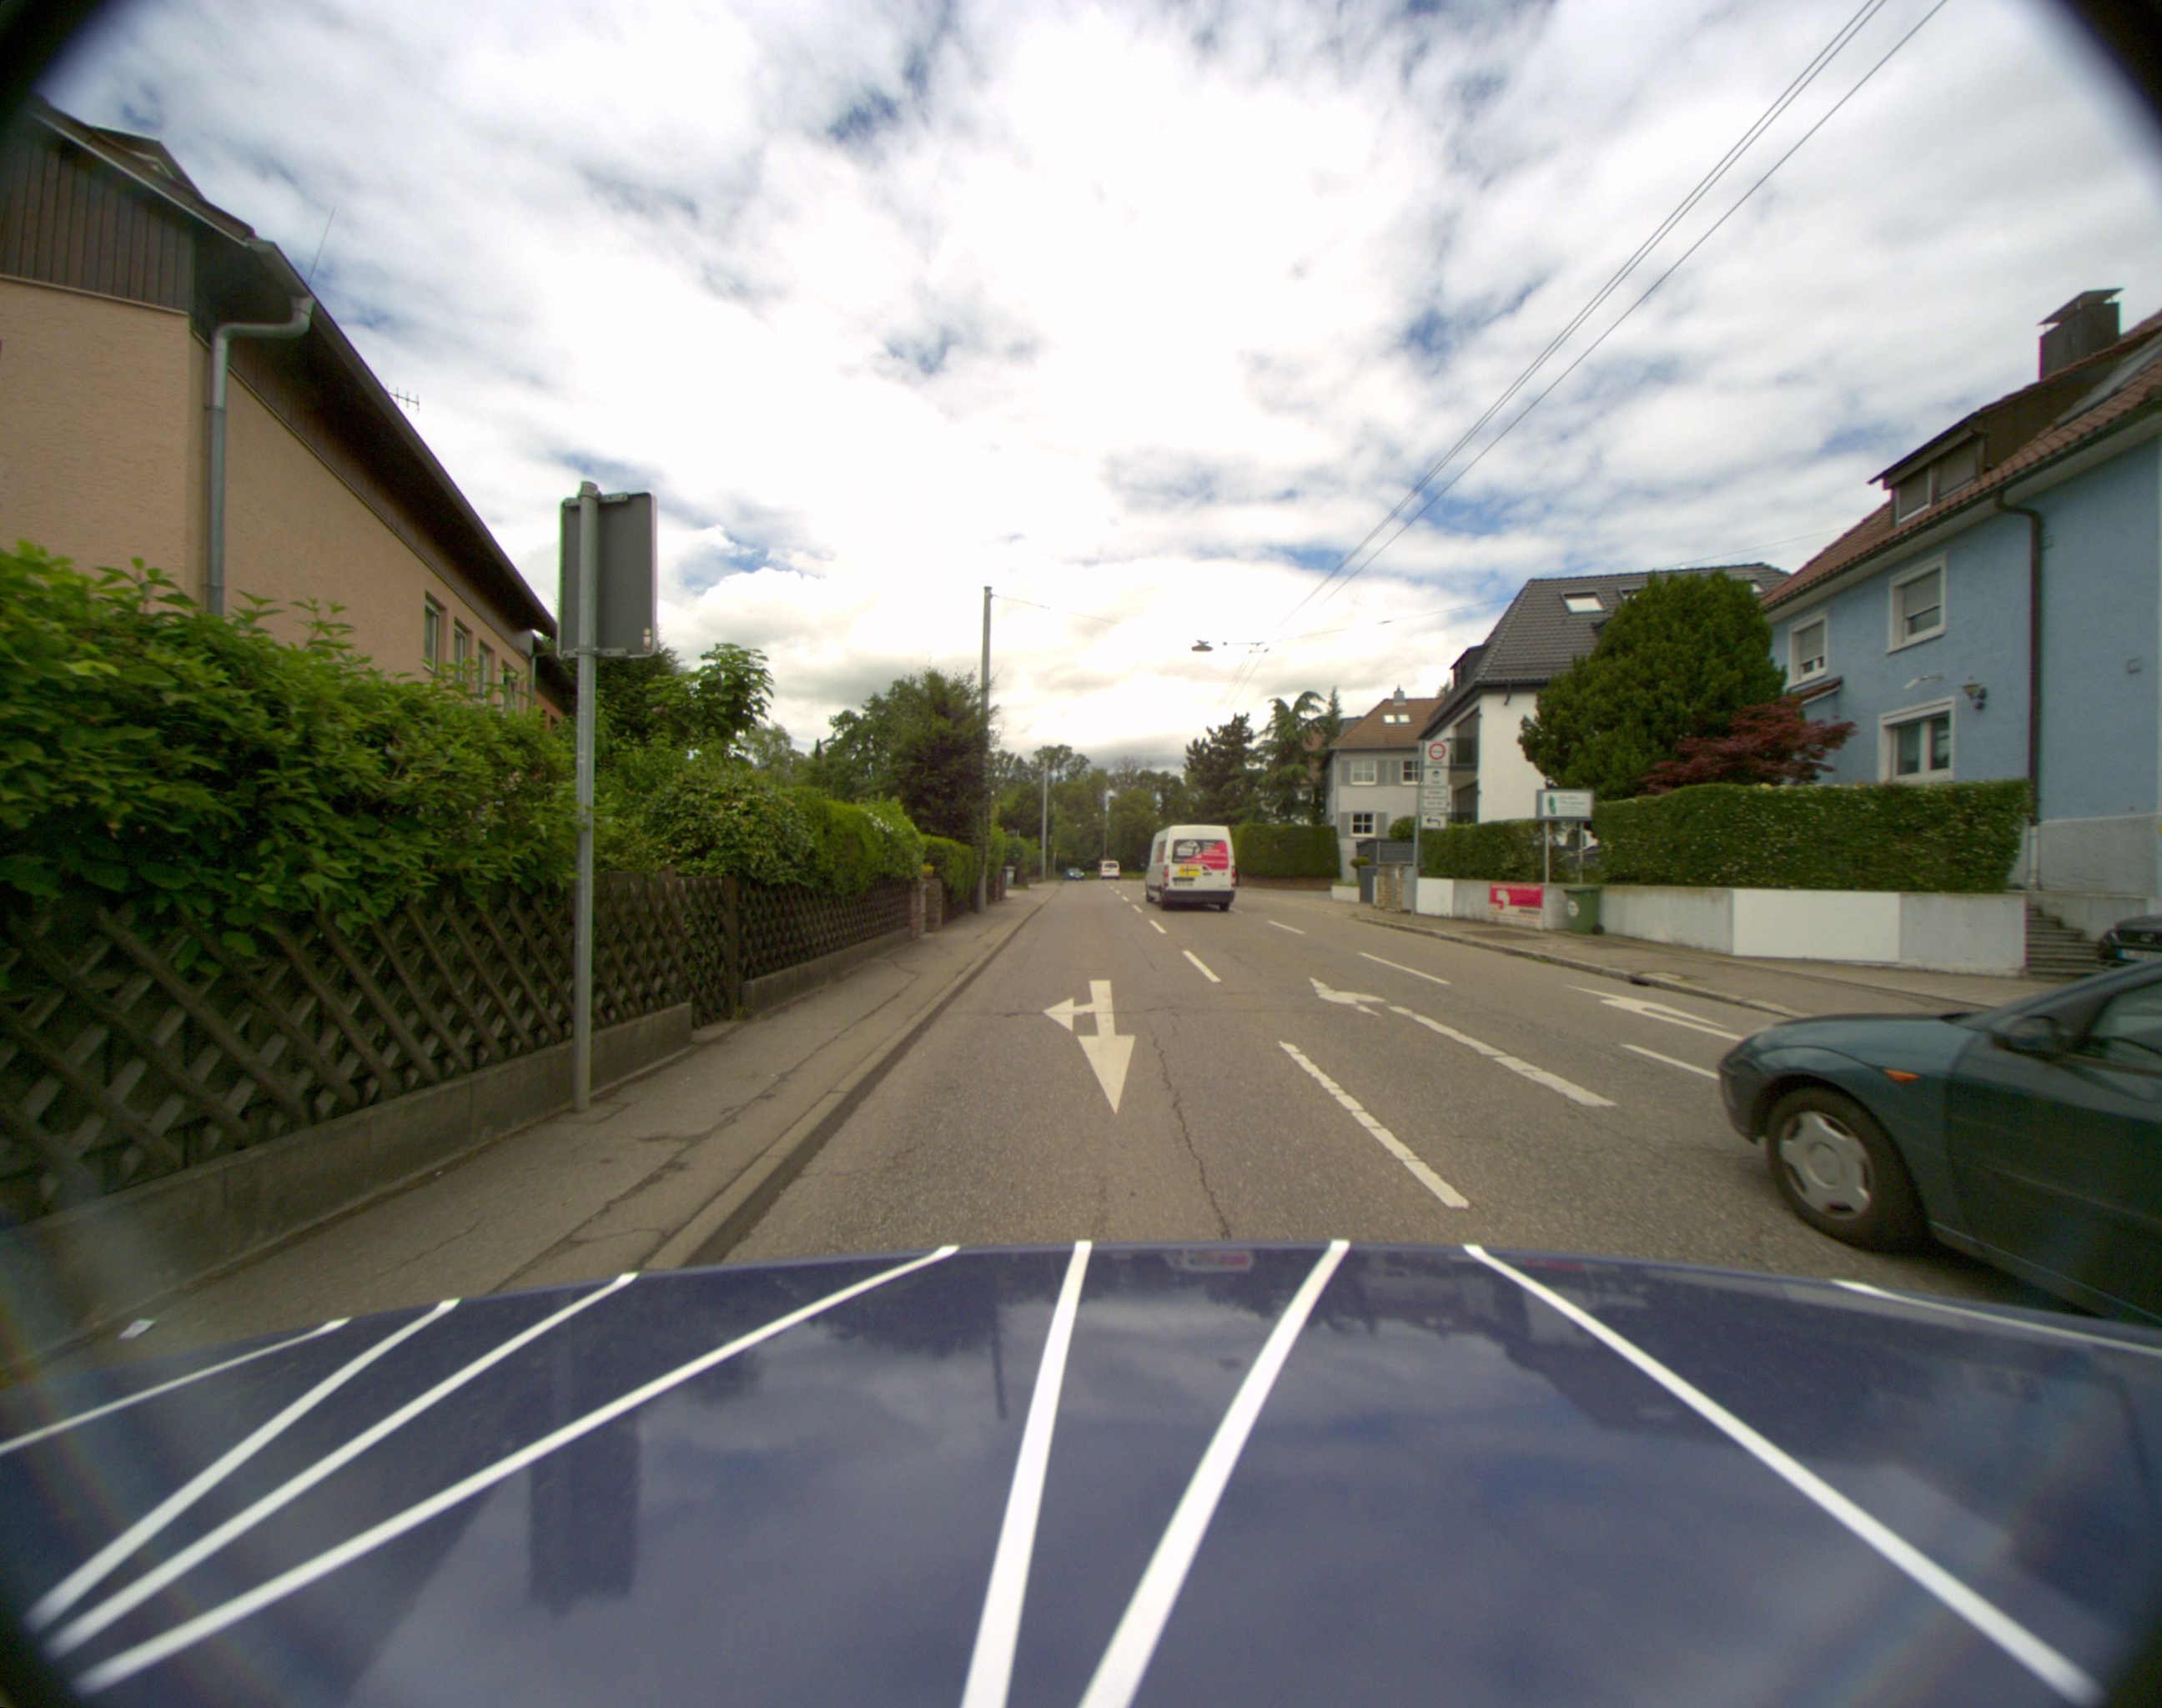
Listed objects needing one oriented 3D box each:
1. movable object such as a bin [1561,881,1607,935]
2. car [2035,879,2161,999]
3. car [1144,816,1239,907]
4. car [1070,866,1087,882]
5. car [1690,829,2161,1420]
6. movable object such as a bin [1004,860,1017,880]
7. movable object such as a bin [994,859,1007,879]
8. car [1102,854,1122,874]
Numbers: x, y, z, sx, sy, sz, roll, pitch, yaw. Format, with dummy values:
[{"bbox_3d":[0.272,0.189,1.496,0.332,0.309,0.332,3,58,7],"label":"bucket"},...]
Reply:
[{"bbox_3d":[9.424,0.999,14.243,0.508,0.967,0.540,1,1,3],"label":"movable object such as a bin"},{"bbox_3d":[14.947,1.053,9.106,3.993,1.382,2.002,0,0,13],"label":"car"},{"bbox_3d":[3.318,0.181,24.140,2.117,2.484,6.123,1,1,0],"label":"car"},{"bbox_3d":[-0.301,2.479,94.196,1.863,1.855,4.610,1,-1,-3],"label":"car"},{"bbox_3d":[3.663,0.719,1.388,1.738,1.544,4.449,1,0,4],"label":"car"},{"bbox_3d":[-3.446,0.766,37.173,0.448,0.950,0.685,4,-1,-20],"label":"movable object such as a bin"},{"bbox_3d":[-3.916,0.733,37.007,0.448,0.950,0.685,4,-1,-16],"label":"movable object such as a bin"},{"bbox_3d":[3.265,1.062,80.776,1.863,2.035,5.172,1,-1,-1],"label":"car"}]
